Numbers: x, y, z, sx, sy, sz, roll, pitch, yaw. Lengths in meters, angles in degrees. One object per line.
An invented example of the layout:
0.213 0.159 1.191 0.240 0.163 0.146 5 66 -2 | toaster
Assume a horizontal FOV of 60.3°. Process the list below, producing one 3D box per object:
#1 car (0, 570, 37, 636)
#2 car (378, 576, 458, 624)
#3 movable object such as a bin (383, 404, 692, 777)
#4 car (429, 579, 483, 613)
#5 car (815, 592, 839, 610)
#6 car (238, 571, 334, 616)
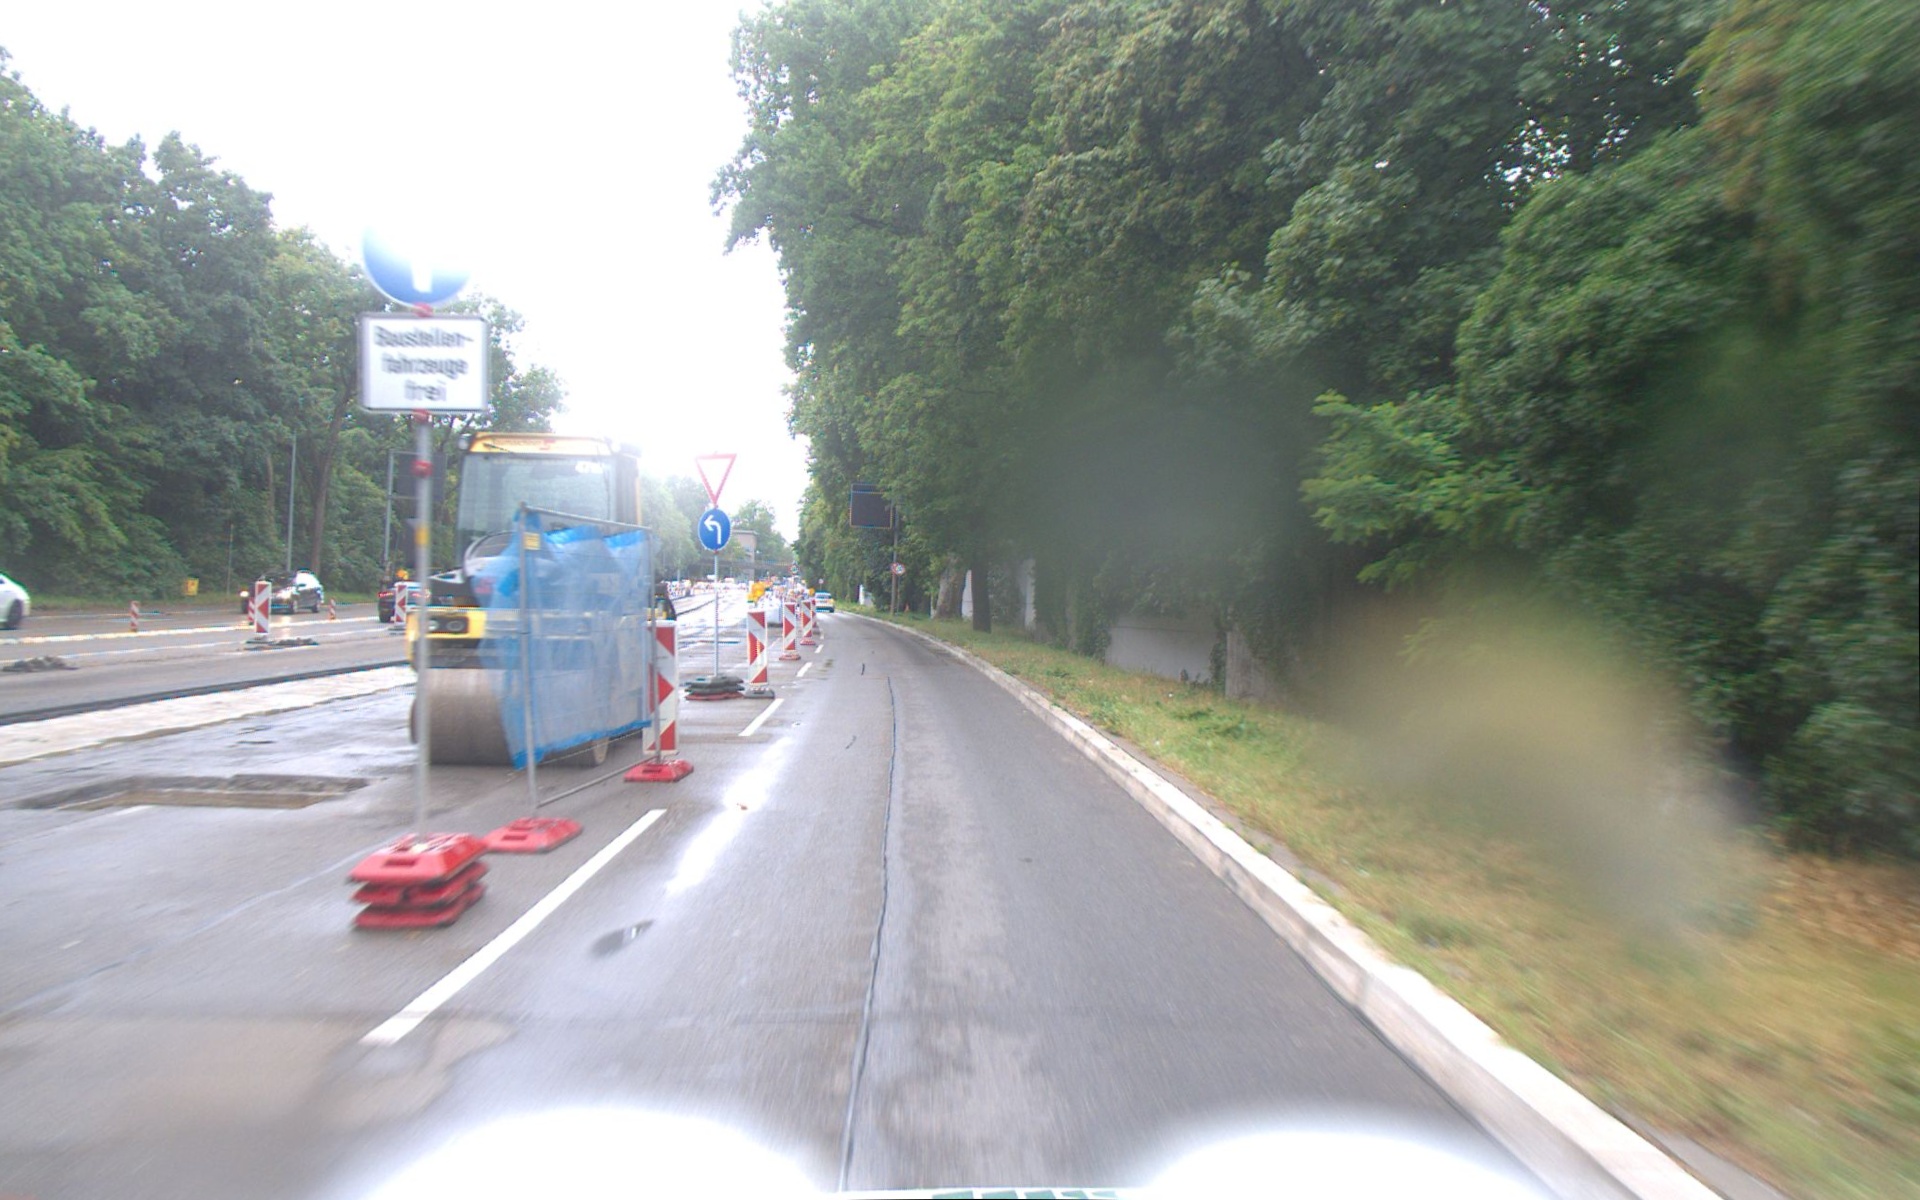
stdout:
-21.859 0.052 35.460 1.748 1.451 4.467 2 0 -3 | car
-17.557 -0.026 53.712 1.577 1.429 4.036 3 0 -6 | car
-3.917 -0.082 16.294 1.767 3.037 5.243 2 0 -2 | movable object such as a bin
-26.009 -0.213 85.487 1.742 1.692 4.909 0 0 -6 | car
-10.355 0.102 128.460 1.666 1.359 3.485 0 0 -8 | car
-23.828 -0.241 58.649 1.749 1.478 4.677 2 0 -5 | car
